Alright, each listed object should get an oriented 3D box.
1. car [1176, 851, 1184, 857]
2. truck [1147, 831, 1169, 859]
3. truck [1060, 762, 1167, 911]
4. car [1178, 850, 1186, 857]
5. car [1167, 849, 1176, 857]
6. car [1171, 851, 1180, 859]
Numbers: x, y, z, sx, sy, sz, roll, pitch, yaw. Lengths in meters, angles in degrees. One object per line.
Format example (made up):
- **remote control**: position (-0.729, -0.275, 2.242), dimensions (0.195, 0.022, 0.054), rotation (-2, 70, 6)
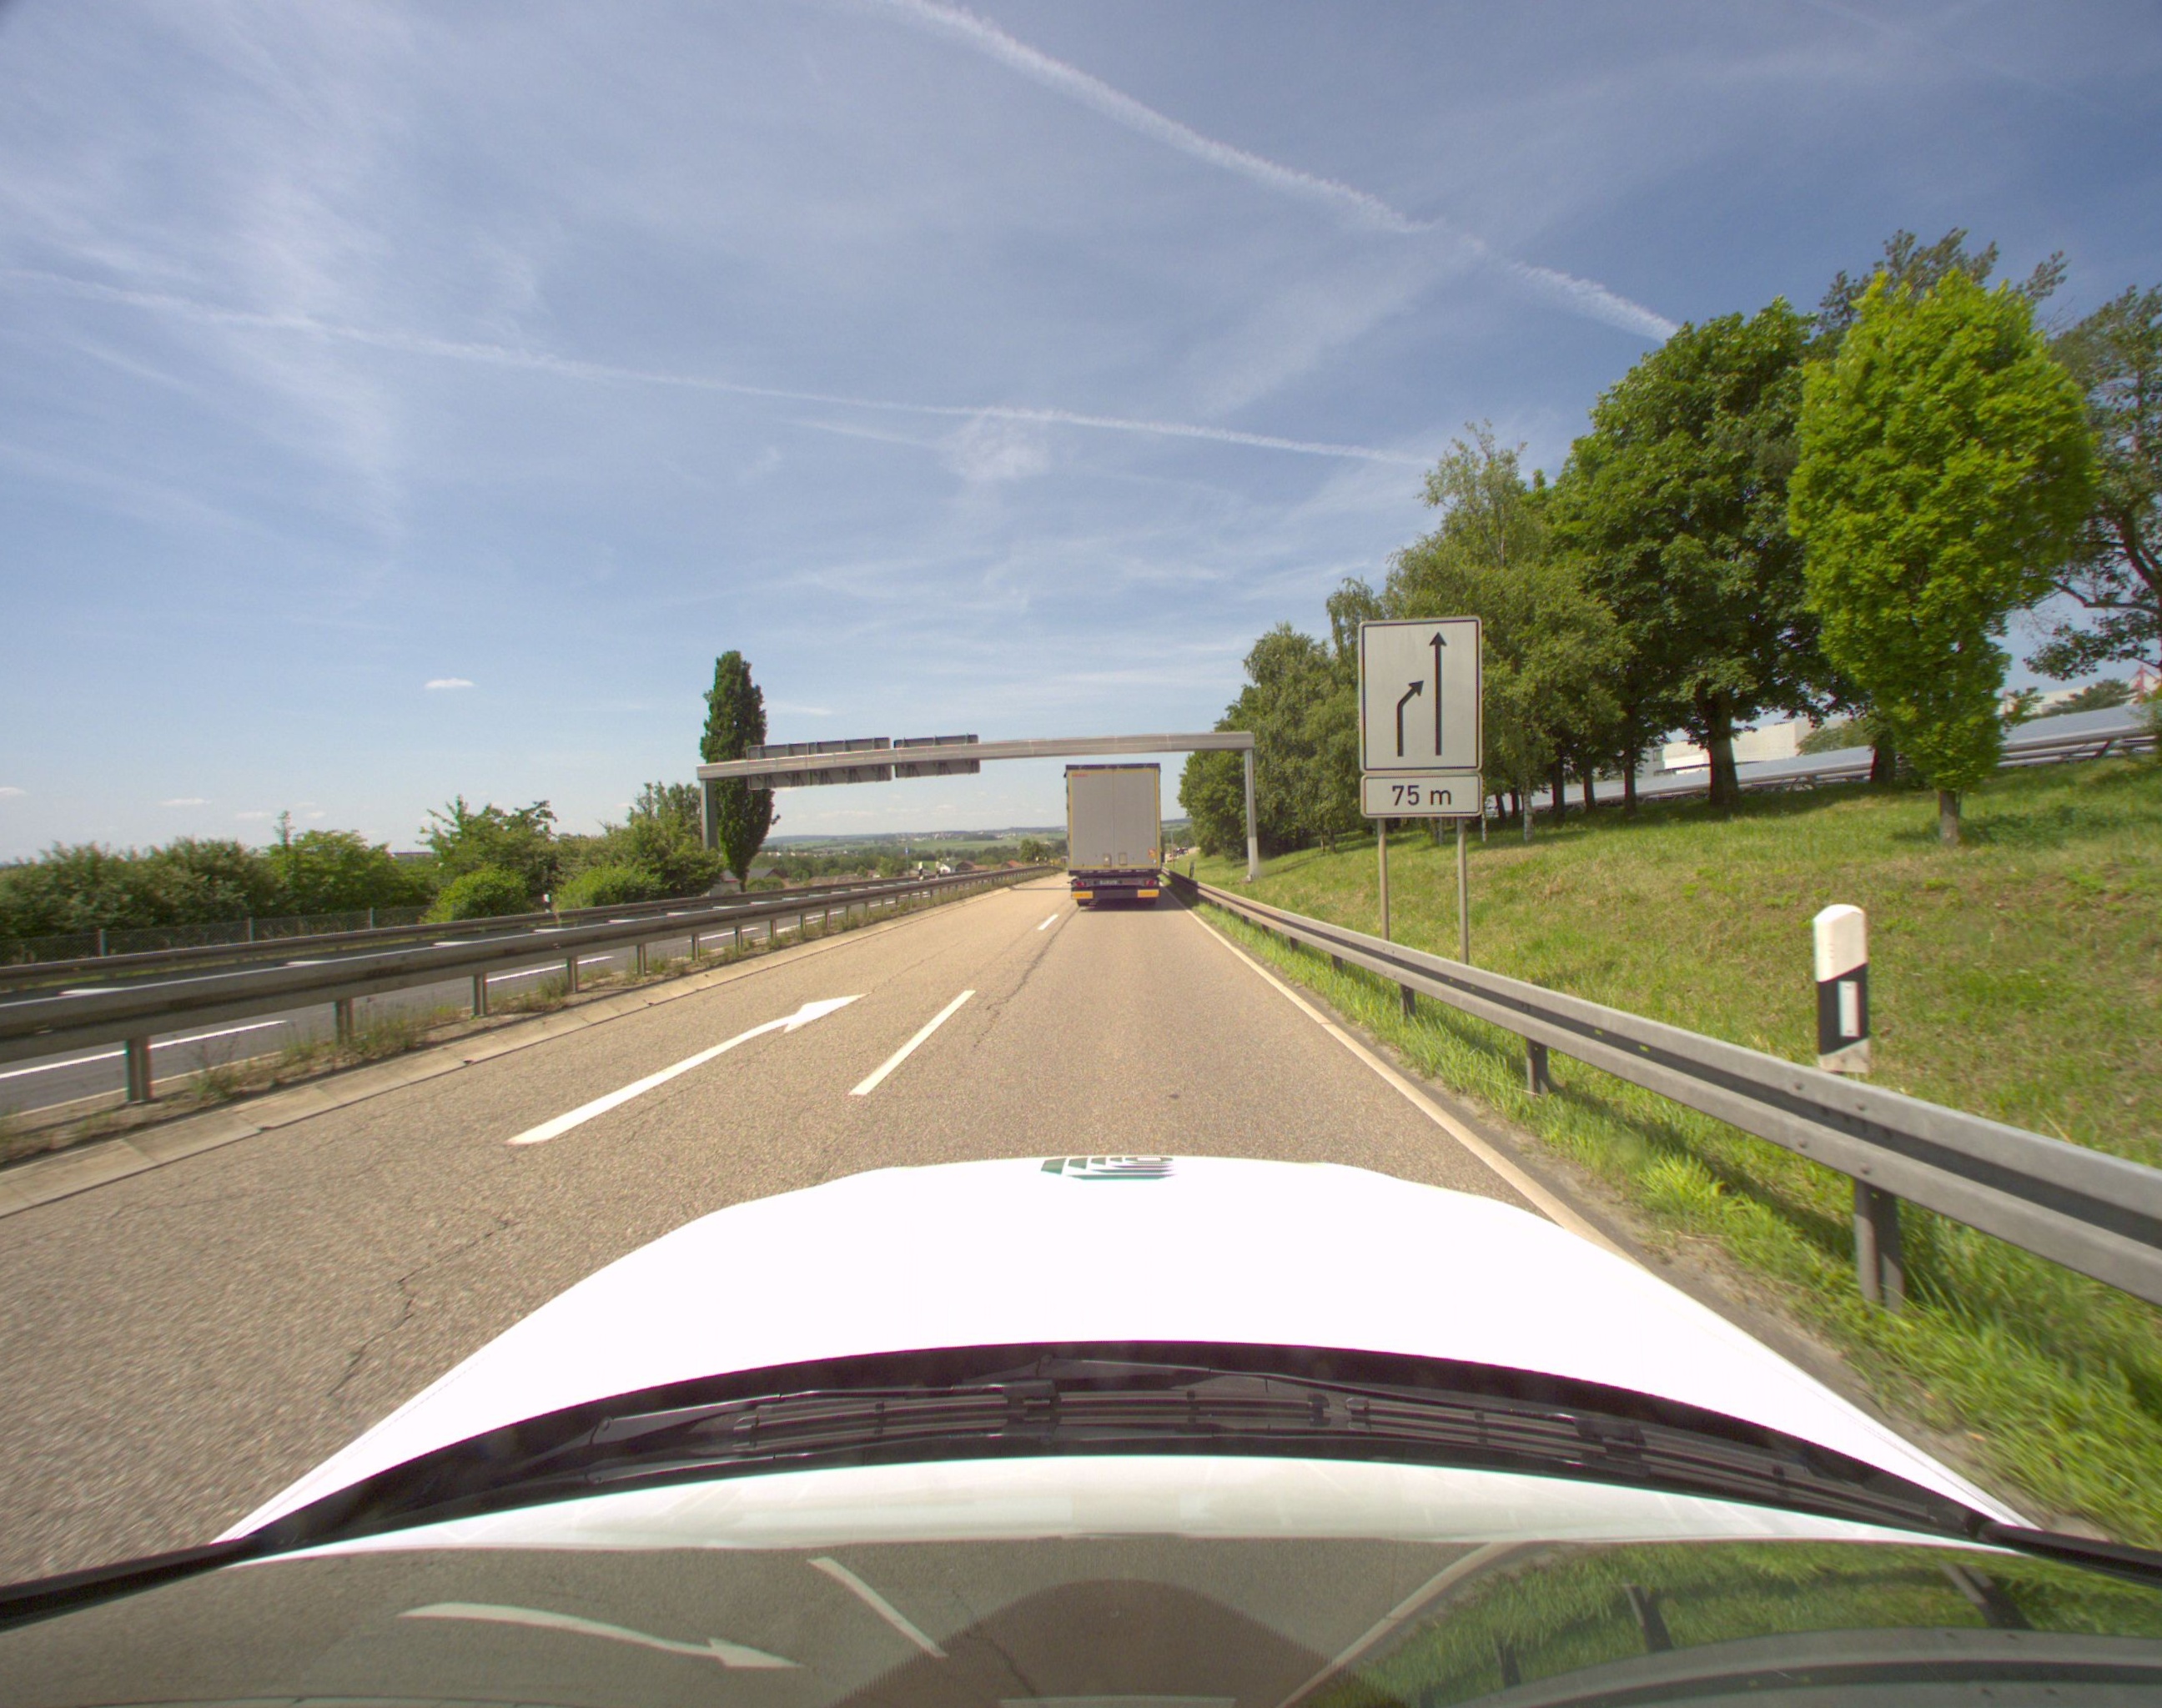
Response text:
- **car**: position (26.287, 0.024, 216.303), dimensions (1.779, 1.688, 4.002), rotation (-1, -1, 3)
- **truck**: position (11.202, -1.184, 118.291), dimensions (2.641, 3.765, 10.183), rotation (-2, -1, 8)
- **truck**: position (1.198, -0.473, 27.357), dimensions (2.787, 3.929, 11.351), rotation (-1, 0, 3)
- **car**: position (29.173, -0.136, 235.480), dimensions (1.779, 1.688, 4.002), rotation (-1, -1, 3)
- **car**: position (19.719, -0.271, 177.527), dimensions (1.779, 1.688, 4.002), rotation (-1, -1, 3)
- **car**: position (22.588, 0.243, 195.245), dimensions (1.779, 1.688, 4.002), rotation (-1, -1, 3)
